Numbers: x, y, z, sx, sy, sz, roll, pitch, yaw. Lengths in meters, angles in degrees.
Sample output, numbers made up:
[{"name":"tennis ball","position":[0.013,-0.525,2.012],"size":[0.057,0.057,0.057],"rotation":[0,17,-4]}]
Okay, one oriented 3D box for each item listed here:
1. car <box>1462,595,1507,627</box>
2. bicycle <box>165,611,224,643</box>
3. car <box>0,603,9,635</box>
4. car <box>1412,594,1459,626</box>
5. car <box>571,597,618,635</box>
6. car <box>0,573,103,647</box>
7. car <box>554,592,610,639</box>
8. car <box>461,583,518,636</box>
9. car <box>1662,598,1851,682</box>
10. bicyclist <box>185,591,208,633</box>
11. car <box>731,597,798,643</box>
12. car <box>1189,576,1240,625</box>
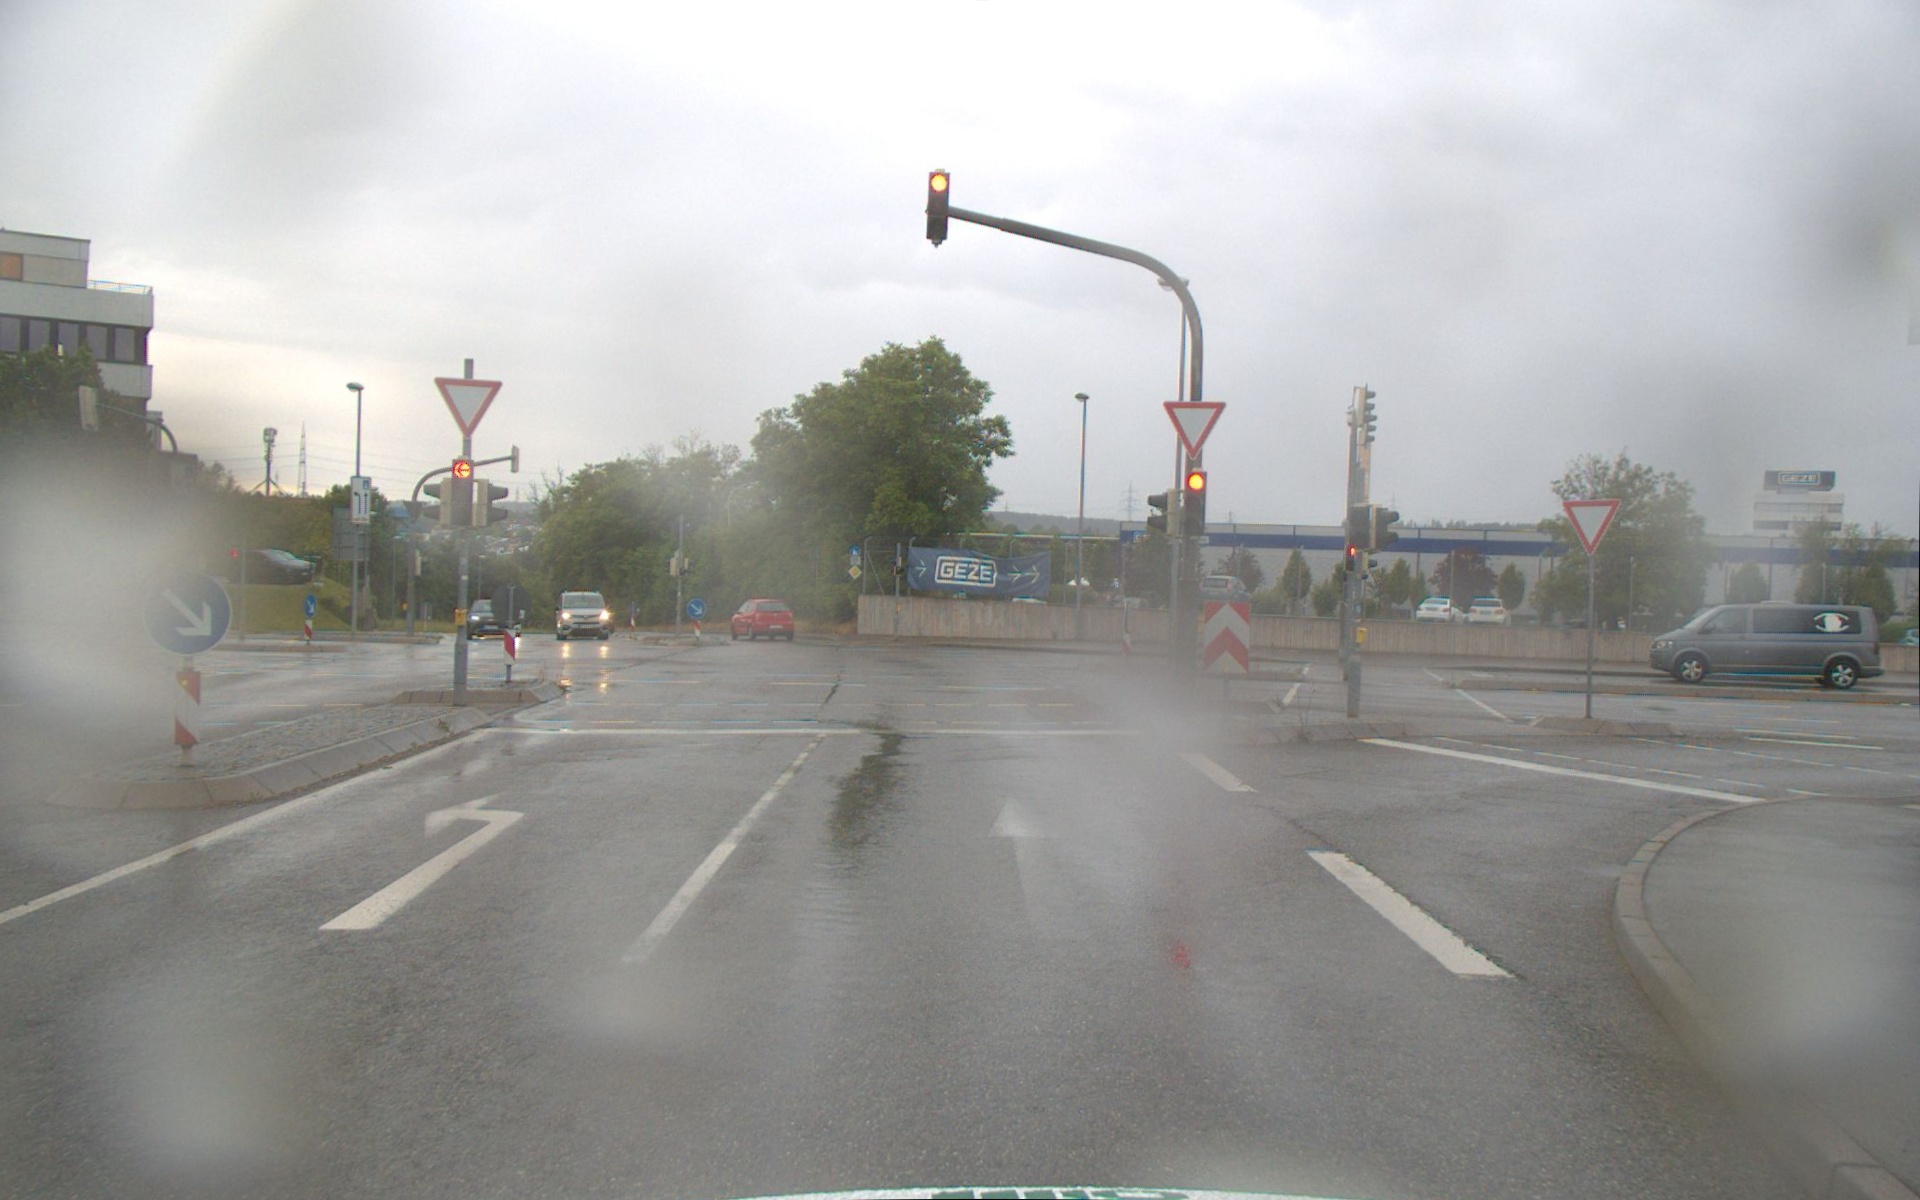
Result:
[{"name":"car","position":[26.274,0.556,82.760],"size":[1.952,1.504,4.001],"rotation":[2,0,20]},{"name":"bicycle","position":[-26.797,0.937,57.905],"size":[1.740,1.070,0.609],"rotation":[1,0,-6]},{"name":"car","position":[-35.648,0.643,58.390],"size":[3.463,1.124,1.805],"rotation":[1,0,-27]},{"name":"car","position":[23.989,0.493,83.392],"size":[1.952,1.504,4.001],"rotation":[2,0,20]},{"name":"car","position":[-20.879,0.906,94.433],"size":[1.965,1.940,3.975],"rotation":[2,1,-21]},{"name":"car","position":[-25.393,0.228,44.304],"size":[4.054,1.873,2.001],"rotation":[2,0,16]},{"name":"car","position":[-14.375,0.559,62.796],"size":[1.960,1.646,3.985],"rotation":[1,0,-14]},{"name":"car","position":[-18.090,0.362,63.444],"size":[1.962,1.928,3.980],"rotation":[2,-1,-18]},{"name":"car","position":[19.626,0.952,40.925],"size":[3.903,1.881,2.001],"rotation":[2,0,17]},{"name":"bicyclist","position":[-26.732,0.420,57.906],"size":[0.533,1.471,0.602],"rotation":[1,0,-6]},{"name":"car","position":[-7.168,0.706,60.407],"size":[1.591,1.474,3.786],"rotation":[2,1,-19]},{"name":"car","position":[11.230,0.028,72.830],"size":[1.951,2.049,4.003],"rotation":[1,0,12]}]
